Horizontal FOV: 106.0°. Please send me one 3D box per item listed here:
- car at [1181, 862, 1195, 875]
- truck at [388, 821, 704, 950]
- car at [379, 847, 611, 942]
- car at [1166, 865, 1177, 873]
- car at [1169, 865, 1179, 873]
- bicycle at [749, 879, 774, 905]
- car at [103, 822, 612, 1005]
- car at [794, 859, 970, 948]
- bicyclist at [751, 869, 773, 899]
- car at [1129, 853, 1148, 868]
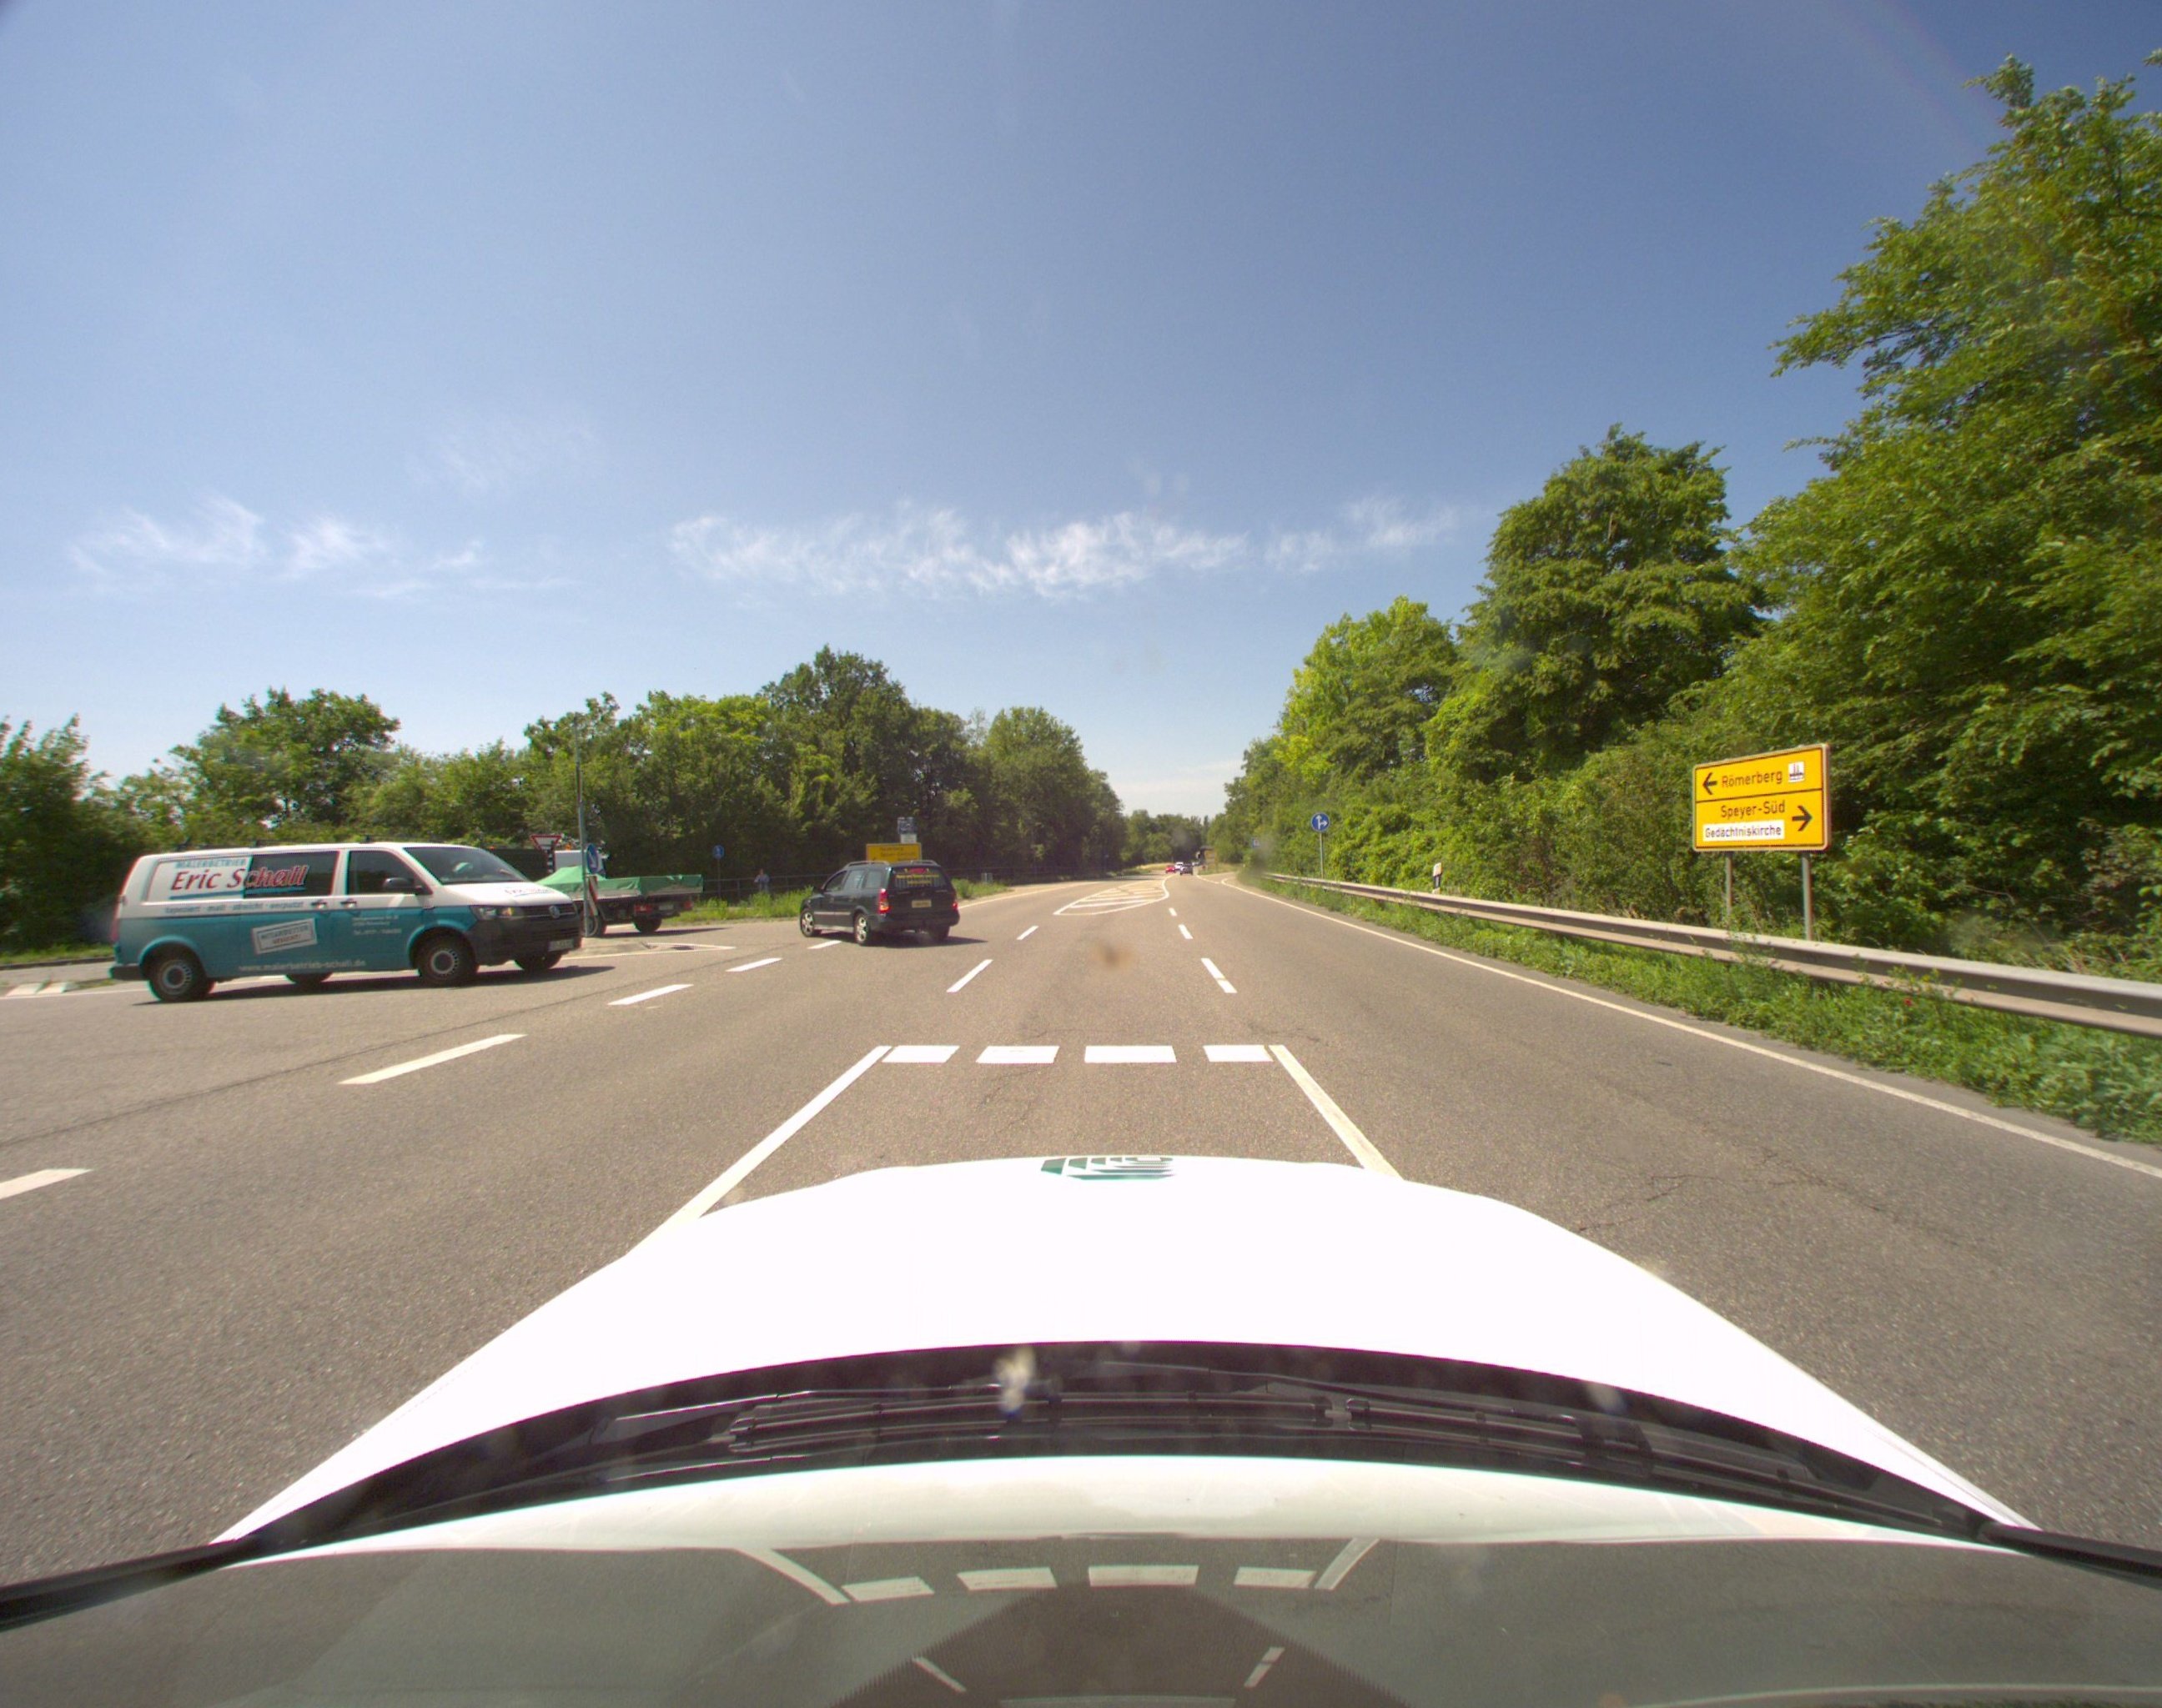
[{"bbox_3d":[14.911,2.016,114.103,1.834,1.684,4.007,-1,0,6],"label":"car"},{"bbox_3d":[-12.791,0.774,19.615,6.575,2.565,2.152,-4,-1,10],"label":"truck"},{"bbox_3d":[-19.325,1.212,27.140,6.046,2.850,2.086,0,-1,-44],"label":"car"},{"bbox_3d":[16.116,2.681,145.089,1.800,1.458,3.765,-1,-1,7],"label":"car"},{"bbox_3d":[19.765,3.179,173.154,1.983,1.730,4.282,-2,0,6],"label":"car"},{"bbox_3d":[-14.830,1.744,37.832,0.433,1.113,1.484,-2,0,6],"label":"bicycle"},{"bbox_3d":[-9.691,0.755,11.245,5.152,2.027,2.000,-3,0,1],"label":"car"},{"bbox_3d":[-3.896,0.872,15.580,1.735,1.457,3.752,-1,-1,-41],"label":"car"},{"bbox_3d":[-14.825,1.384,37.851,0.684,1.363,0.610,-1,0,4],"label":"bicyclist"},{"bbox_3d":[12.745,1.438,180.686,2.004,3.226,4.768,-1,0,-26],"label":"car"}]
